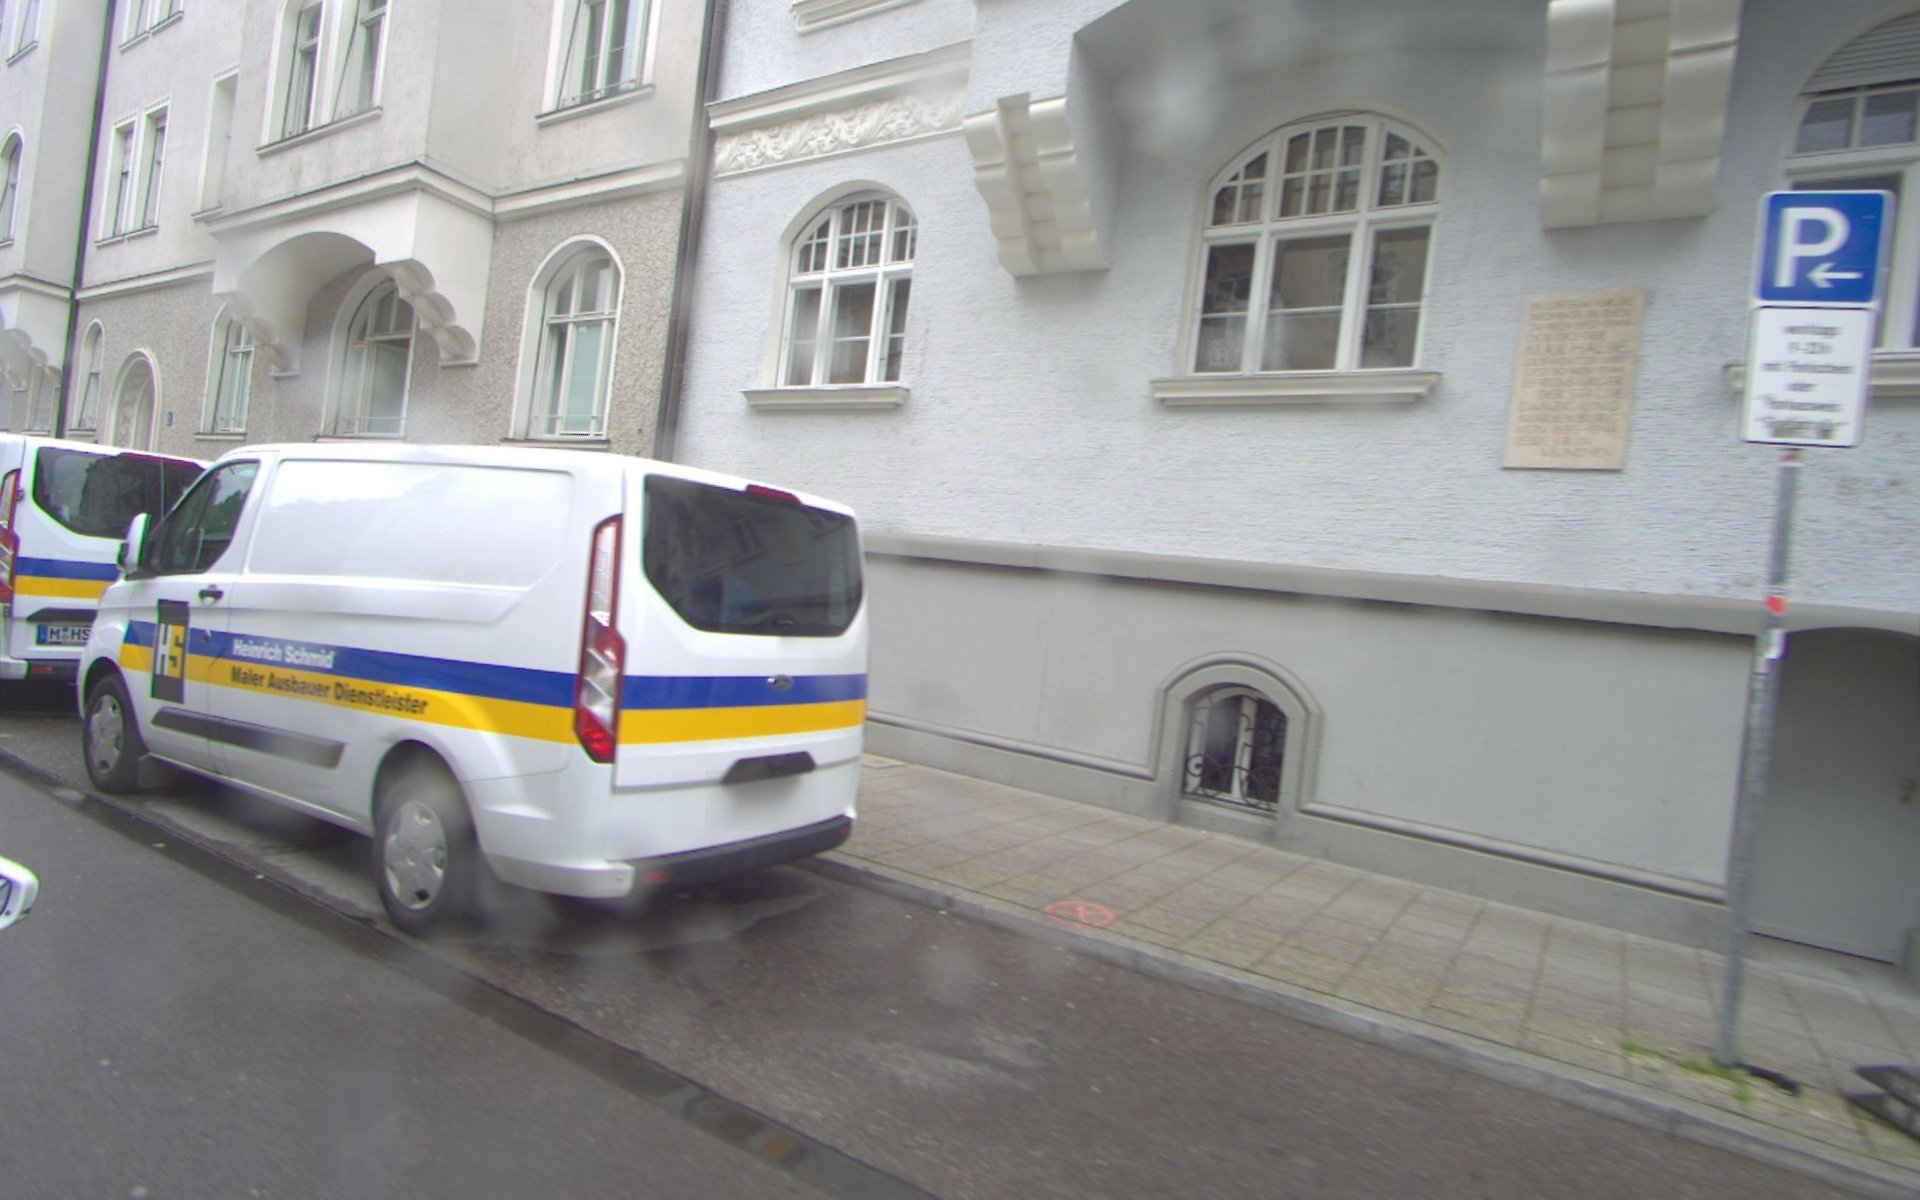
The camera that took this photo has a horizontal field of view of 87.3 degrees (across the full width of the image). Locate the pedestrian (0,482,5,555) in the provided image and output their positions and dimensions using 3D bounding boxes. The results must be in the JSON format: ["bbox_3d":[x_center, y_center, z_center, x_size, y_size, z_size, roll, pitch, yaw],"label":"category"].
[{"bbox_3d":[-23.686,-1.996,24.219,0.723,1.760,0.691,3,1,-12],"label":"pedestrian"}]

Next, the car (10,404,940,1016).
[{"bbox_3d":[-2.799,0.196,5.419,4.909,2.038,1.962,7,0,30],"label":"car"}]

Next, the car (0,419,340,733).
[{"bbox_3d":[-7.578,-0.313,8.333,4.909,1.961,1.962,7,0,30],"label":"car"}]
